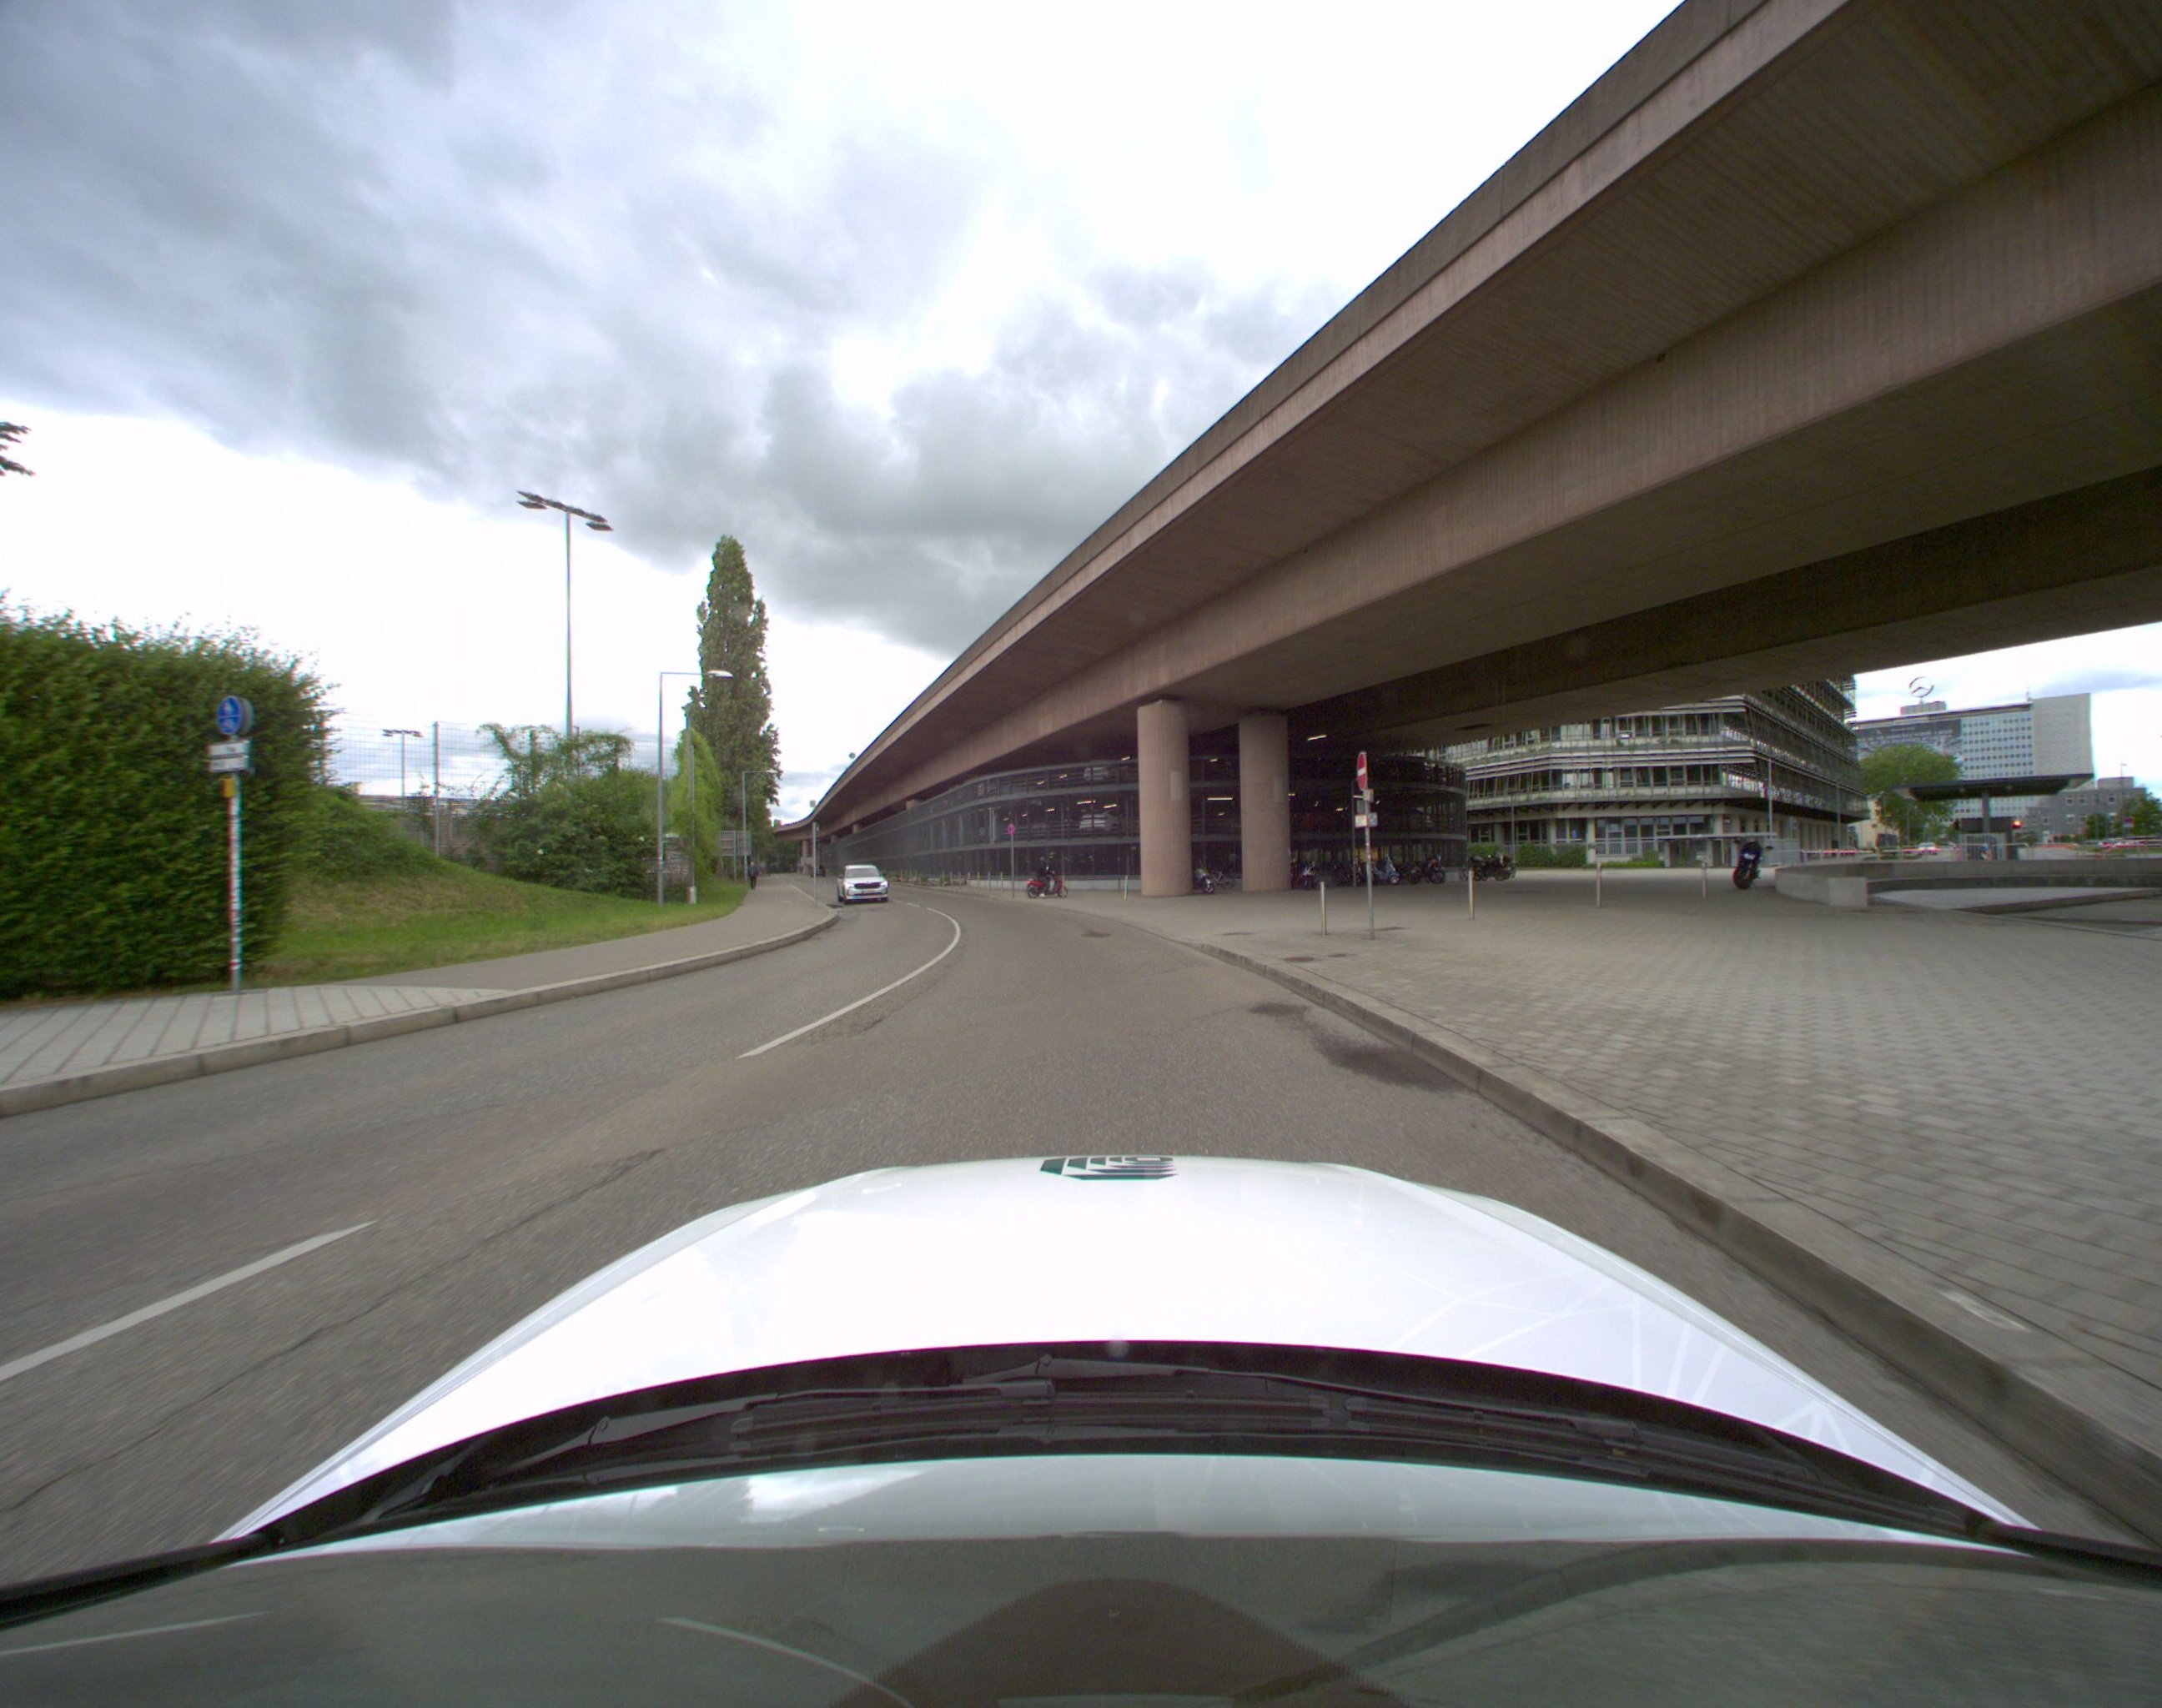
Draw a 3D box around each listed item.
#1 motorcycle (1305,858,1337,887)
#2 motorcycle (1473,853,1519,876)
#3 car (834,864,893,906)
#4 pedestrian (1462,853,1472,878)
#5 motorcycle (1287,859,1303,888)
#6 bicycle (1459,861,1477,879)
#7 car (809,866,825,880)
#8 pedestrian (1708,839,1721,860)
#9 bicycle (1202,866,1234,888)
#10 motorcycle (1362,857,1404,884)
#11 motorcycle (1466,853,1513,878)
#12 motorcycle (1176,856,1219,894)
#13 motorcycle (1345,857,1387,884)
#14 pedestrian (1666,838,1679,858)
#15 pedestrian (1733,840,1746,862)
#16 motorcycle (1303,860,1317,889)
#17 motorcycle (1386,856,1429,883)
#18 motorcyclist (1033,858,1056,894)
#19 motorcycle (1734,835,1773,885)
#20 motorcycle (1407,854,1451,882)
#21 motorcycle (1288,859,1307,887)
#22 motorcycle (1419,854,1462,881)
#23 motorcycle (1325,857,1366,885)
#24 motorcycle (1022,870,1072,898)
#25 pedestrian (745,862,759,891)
[{"bbox_3d":[10.654,0.802,36.222,0.827,1.220,2.079,-1,1,0],"label":"motorcycle"},{"bbox_3d":[22.180,0.540,43.537,0.674,1.220,2.347,-1,1,-21],"label":"motorcycle"},{"bbox_3d":[-9.684,1.317,35.988,1.873,1.683,4.371,-2,0,-23],"label":"car"},{"bbox_3d":[31.353,0.964,66.156,0.527,2.014,0.571,0,-1,-12],"label":"pedestrian"},{"bbox_3d":[9.413,0.843,35.825,0.517,1.220,1.153,-1,1,9],"label":"motorcycle"},{"bbox_3d":[21.430,0.873,45.094,0.469,0.895,1.514,-1,1,43],"label":"bicycle"},{"bbox_3d":[-36.962,2.624,114.044,1.846,1.711,3.679,-1,1,-21],"label":"car"},{"bbox_3d":[45.264,-0.314,58.210,0.544,1.481,0.494,-1,0,-17],"label":"pedestrian"},{"bbox_3d":[6.507,1.086,38.737,1.465,0.976,0.452,-1,0,4],"label":"bicycle"},{"bbox_3d":[14.348,0.753,38.773,0.674,1.220,2.064,-1,1,-21],"label":"motorcycle"},{"bbox_3d":[21.308,0.574,42.544,0.674,1.275,2.347,-1,1,-21],"label":"motorcycle"},{"bbox_3d":[4.663,0.832,32.699,0.647,1.455,1.743,-2,1,-37],"label":"motorcycle"},{"bbox_3d":[13.390,0.756,38.290,0.674,1.220,2.064,-1,1,-21],"label":"motorcycle"},{"bbox_3d":[44.308,-0.421,60.990,0.542,1.481,0.495,-1,0,-6],"label":"pedestrian"},{"bbox_3d":[45.895,-0.195,56.759,0.545,1.481,0.493,-1,0,-20],"label":"pedestrian"},{"bbox_3d":[9.410,0.840,33.442,0.516,1.171,1.155,-1,-2,15],"label":"motorcycle"},{"bbox_3d":[15.570,0.720,38.891,0.674,1.220,2.064,-1,1,-21],"label":"motorcycle"},{"bbox_3d":[-1.482,0.876,32.856,0.866,1.419,0.762,-1,0,-7],"label":"motorcyclist"},{"bbox_3d":[17.680,0.138,21.389,1.952,1.264,0.541,-2,1,-43],"label":"motorcycle"},{"bbox_3d":[16.779,0.668,39.328,0.674,1.286,2.064,-1,1,-21],"label":"motorcycle"},{"bbox_3d":[9.875,0.848,37.163,0.519,1.220,1.149,-1,0,-3],"label":"motorcycle"},{"bbox_3d":[17.555,0.645,39.817,0.674,1.220,2.064,-1,1,-21],"label":"motorcycle"},{"bbox_3d":[12.371,0.781,38.094,0.674,1.220,2.064,-1,1,-21],"label":"motorcycle"},{"bbox_3d":[-1.378,1.212,32.860,1.948,1.022,0.747,-1,0,-7],"label":"motorcycle"},{"bbox_3d":[-21.459,1.462,53.175,0.807,1.781,0.913,-1,0,-22],"label":"pedestrian"}]
